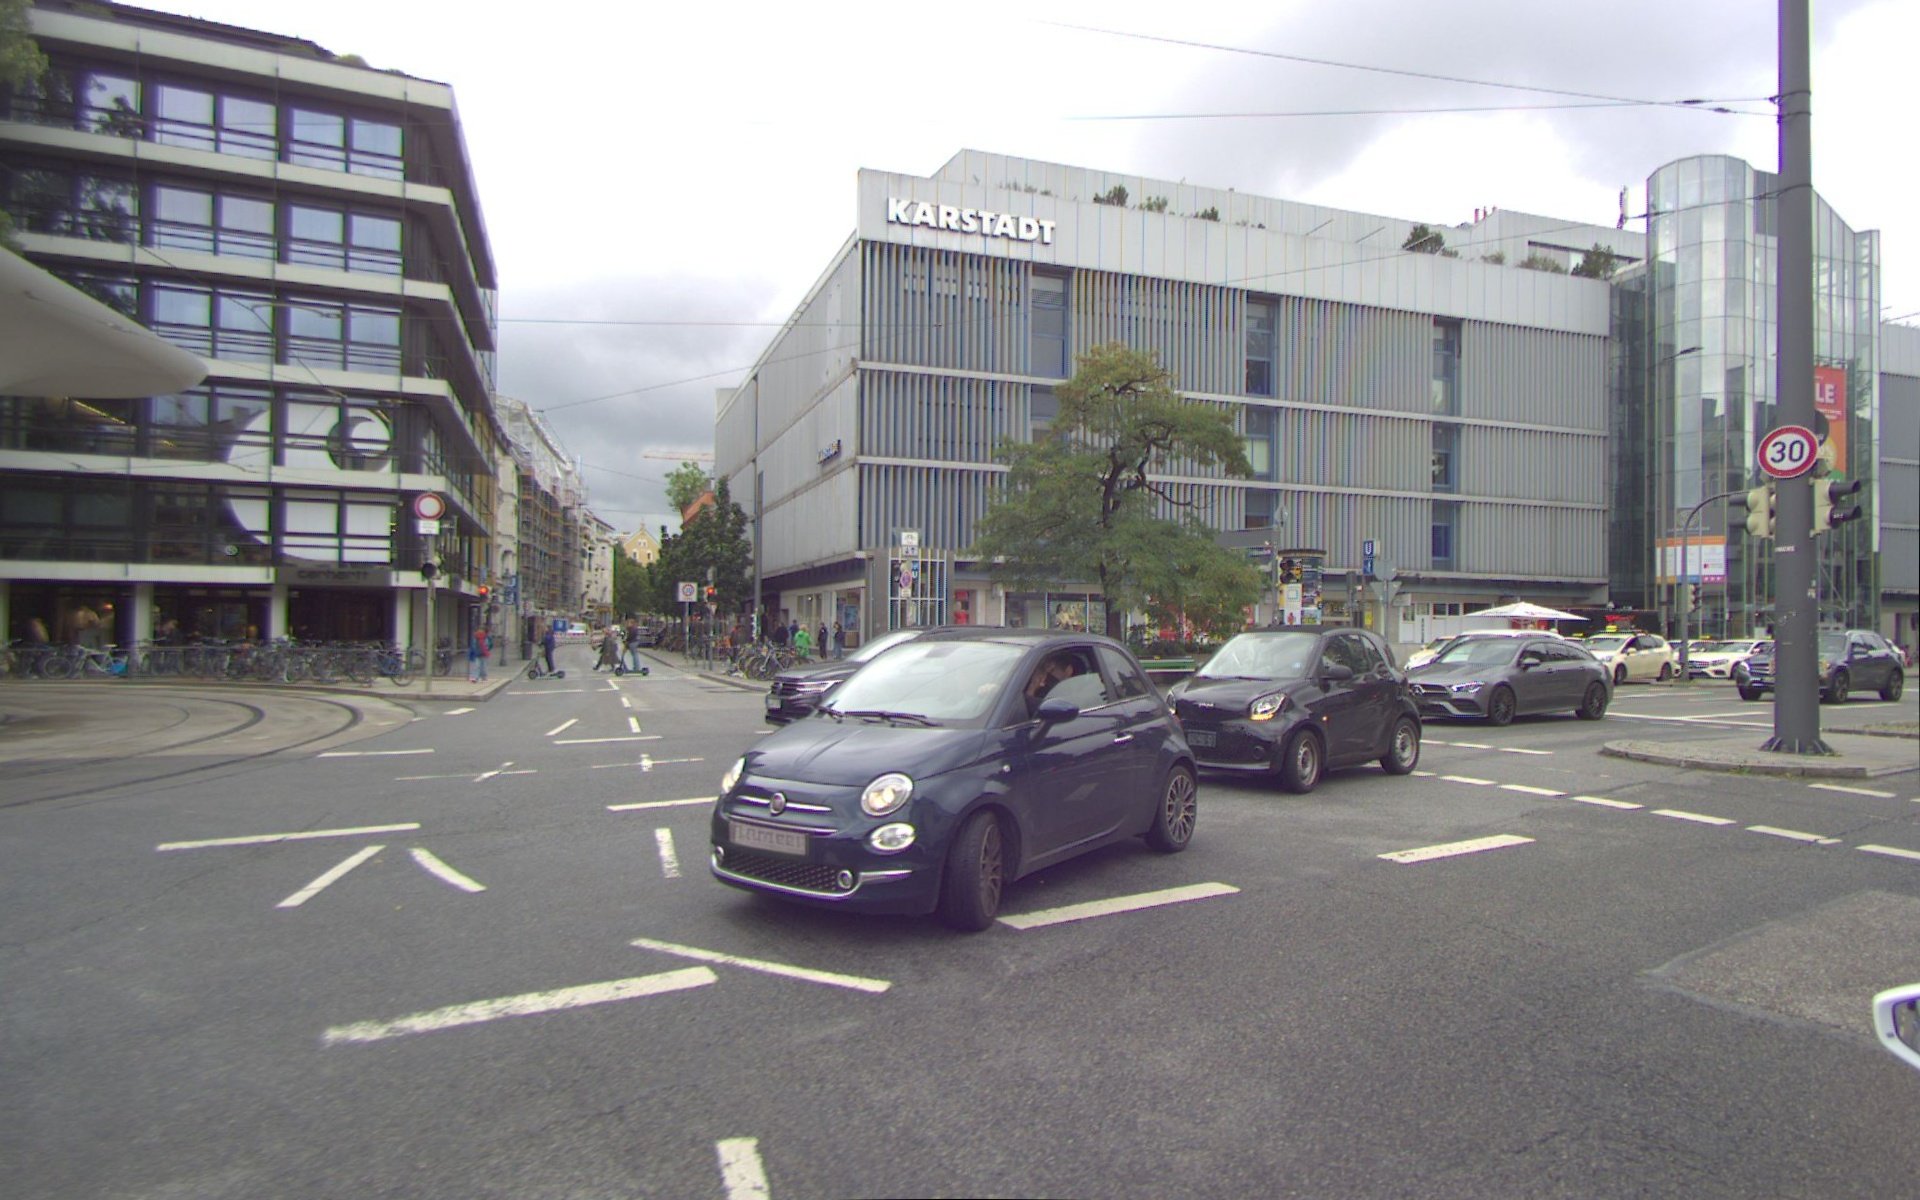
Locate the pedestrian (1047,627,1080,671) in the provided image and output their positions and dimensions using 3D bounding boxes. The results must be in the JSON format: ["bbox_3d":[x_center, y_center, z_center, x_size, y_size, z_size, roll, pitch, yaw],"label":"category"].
[{"bbox_3d":[3.832,1.826,37.265,0.962,1.602,0.796,1,-1,-19],"label":"pedestrian"}]

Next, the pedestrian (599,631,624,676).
[{"bbox_3d":[-13.276,2.024,38.282,0.844,1.664,0.786,1,-1,-18],"label":"pedestrian"}]

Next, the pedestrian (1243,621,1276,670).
[{"bbox_3d":[9.773,1.482,32.778,0.739,1.575,0.770,1,-1,-18],"label":"pedestrian"}]

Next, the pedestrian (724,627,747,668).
[{"bbox_3d":[-9.366,1.987,41.878,0.838,1.676,0.799,1,-1,-18],"label":"pedestrian"}]

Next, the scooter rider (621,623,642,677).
[{"bbox_3d":[-11.490,1.734,35.150,0.657,1.859,0.617,1,-1,-21],"label":"scooter rider"}]

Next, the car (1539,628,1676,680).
[{"bbox_3d":[20.785,1.677,32.214,4.340,1.563,1.893,1,-2,-30],"label":"car"}]

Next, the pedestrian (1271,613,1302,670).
[{"bbox_3d":[10.469,1.309,32.157,0.739,1.796,0.770,-1,-1,37],"label":"pedestrian"}]

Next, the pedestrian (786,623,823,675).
[{"bbox_3d":[-4.930,1.545,31.878,0.804,1.640,0.831,2,-2,-44],"label":"pedestrian"}]

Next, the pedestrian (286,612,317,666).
[{"bbox_3d":[-25.580,1.510,39.031,0.906,2.040,0.830,1,-1,-27],"label":"pedestrian"}]

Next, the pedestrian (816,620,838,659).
[{"bbox_3d":[-5.917,1.773,44.793,0.774,1.710,0.784,1,-1,-25],"label":"pedestrian"}]

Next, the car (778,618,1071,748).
[{"bbox_3d":[-0.491,1.127,14.766,3.953,1.684,1.775,1,-2,-30],"label":"car"}]

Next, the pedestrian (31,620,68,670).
[{"bbox_3d":[-29.689,1.462,32.760,0.663,1.613,0.592,1,-1,-20],"label":"pedestrian"}]

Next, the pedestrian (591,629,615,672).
[{"bbox_3d":[-14.083,1.997,39.643,0.838,1.676,0.799,1,-1,-18],"label":"pedestrian"}]

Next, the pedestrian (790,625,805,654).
[{"bbox_3d":[-8.825,2.130,54.428,0.646,1.573,0.678,1,-1,-21],"label":"pedestrian"}]

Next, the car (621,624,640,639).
[{"bbox_3d":[-38.738,3.674,118.110,1.932,1.774,3.981,1,-2,-21],"label":"car"}]

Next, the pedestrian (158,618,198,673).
[{"bbox_3d":[-26.441,1.539,33.974,0.815,1.824,0.718,1,-1,-19],"label":"pedestrian"}]

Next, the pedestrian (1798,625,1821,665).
[{"bbox_3d":[39.290,2.094,46.466,0.618,1.841,0.557,1,-1,-19],"label":"pedestrian"}]

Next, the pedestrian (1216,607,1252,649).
[{"bbox_3d":[8.709,0.895,31.913,1.032,1.292,0.542,1,-1,-29],"label":"pedestrian"}]

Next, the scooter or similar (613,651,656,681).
[{"bbox_3d":[-11.399,2.306,35.169,1.383,0.995,0.412,1,-1,-21],"label":"scooter or similar"}]

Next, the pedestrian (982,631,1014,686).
[{"bbox_3d":[1.132,1.725,29.862,0.712,1.595,0.635,1,-1,-30],"label":"pedestrian"}]

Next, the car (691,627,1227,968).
[{"bbox_3d":[0.248,0.911,6.212,1.525,1.464,3.526,-1,-2,36],"label":"car"}]

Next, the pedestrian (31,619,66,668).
[{"bbox_3d":[-30.335,1.438,33.438,0.663,1.613,0.592,1,-1,-20],"label":"pedestrian"}]

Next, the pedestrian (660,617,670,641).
[{"bbox_3d":[-25.539,2.515,86.989,0.728,2.040,0.870,1,-1,-23],"label":"pedestrian"}]

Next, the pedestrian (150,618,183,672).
[{"bbox_3d":[-27.143,1.532,34.362,0.679,1.824,0.592,1,-1,-20],"label":"pedestrian"}]

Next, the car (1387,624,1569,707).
[{"bbox_3d":[11.144,1.347,21.544,3.955,1.617,1.690,1,-2,-31],"label":"car"}]

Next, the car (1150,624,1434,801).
[{"bbox_3d":[3.464,1.052,10.365,2.813,1.554,1.492,2,-3,-39],"label":"car"}]

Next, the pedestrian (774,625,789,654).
[{"bbox_3d":[-9.601,2.110,54.059,0.646,1.573,0.678,1,-1,-21],"label":"pedestrian"}]

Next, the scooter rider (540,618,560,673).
[{"bbox_3d":[-14.010,1.542,34.314,0.601,1.863,0.552,1,-1,-24],"label":"scooter rider"}]

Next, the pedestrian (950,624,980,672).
[{"bbox_3d":[0.186,1.711,36.067,0.774,1.710,0.862,0,-1,26],"label":"pedestrian"}]

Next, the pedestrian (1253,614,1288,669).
[{"bbox_3d":[9.712,1.292,31.470,0.740,1.676,0.770,1,-1,-19],"label":"pedestrian"}]

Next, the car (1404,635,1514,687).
[{"bbox_3d":[16.253,1.925,32.635,1.973,1.556,4.387,-1,-2,44],"label":"car"}]

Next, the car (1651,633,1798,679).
[{"bbox_3d":[26.642,1.929,35.037,4.565,1.528,1.991,1,-2,-21],"label":"car"}]

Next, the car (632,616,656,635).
[{"bbox_3d":[-29.195,2.339,92.773,1.970,1.684,3.982,1,-1,-20],"label":"car"}]

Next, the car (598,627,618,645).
[{"bbox_3d":[-37.363,3.782,106.636,1.932,1.884,3.981,1,-1,-21],"label":"car"}]

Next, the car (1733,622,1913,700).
[{"bbox_3d":[20.316,1.376,23.599,4.675,1.692,1.735,1,-2,-30],"label":"car"}]

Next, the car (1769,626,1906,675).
[{"bbox_3d":[32.495,1.845,37.205,4.116,1.701,1.993,1,-1,-17],"label":"car"}]

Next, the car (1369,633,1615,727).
[{"bbox_3d":[9.189,1.286,17.292,4.122,1.430,1.983,1,-2,-32],"label":"car"}]

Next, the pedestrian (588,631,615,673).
[{"bbox_3d":[-13.878,2.008,38.866,0.934,1.609,0.739,1,-1,-18],"label":"pedestrian"}]

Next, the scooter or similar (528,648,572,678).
[{"bbox_3d":[-14.005,2.149,34.328,1.385,0.995,0.412,1,-1,-25],"label":"scooter or similar"}]

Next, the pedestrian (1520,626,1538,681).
[{"bbox_3d":[18.599,1.735,32.833,0.348,1.783,0.447,0,-1,6],"label":"pedestrian"}]

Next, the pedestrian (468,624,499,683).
[{"bbox_3d":[-13.839,1.536,29.176,0.779,1.663,0.853,1,-1,-25],"label":"pedestrian"}]

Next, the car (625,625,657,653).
[{"bbox_3d":[-24.869,3.012,78.215,2.142,2.087,3.981,1,-1,-21],"label":"car"}]
